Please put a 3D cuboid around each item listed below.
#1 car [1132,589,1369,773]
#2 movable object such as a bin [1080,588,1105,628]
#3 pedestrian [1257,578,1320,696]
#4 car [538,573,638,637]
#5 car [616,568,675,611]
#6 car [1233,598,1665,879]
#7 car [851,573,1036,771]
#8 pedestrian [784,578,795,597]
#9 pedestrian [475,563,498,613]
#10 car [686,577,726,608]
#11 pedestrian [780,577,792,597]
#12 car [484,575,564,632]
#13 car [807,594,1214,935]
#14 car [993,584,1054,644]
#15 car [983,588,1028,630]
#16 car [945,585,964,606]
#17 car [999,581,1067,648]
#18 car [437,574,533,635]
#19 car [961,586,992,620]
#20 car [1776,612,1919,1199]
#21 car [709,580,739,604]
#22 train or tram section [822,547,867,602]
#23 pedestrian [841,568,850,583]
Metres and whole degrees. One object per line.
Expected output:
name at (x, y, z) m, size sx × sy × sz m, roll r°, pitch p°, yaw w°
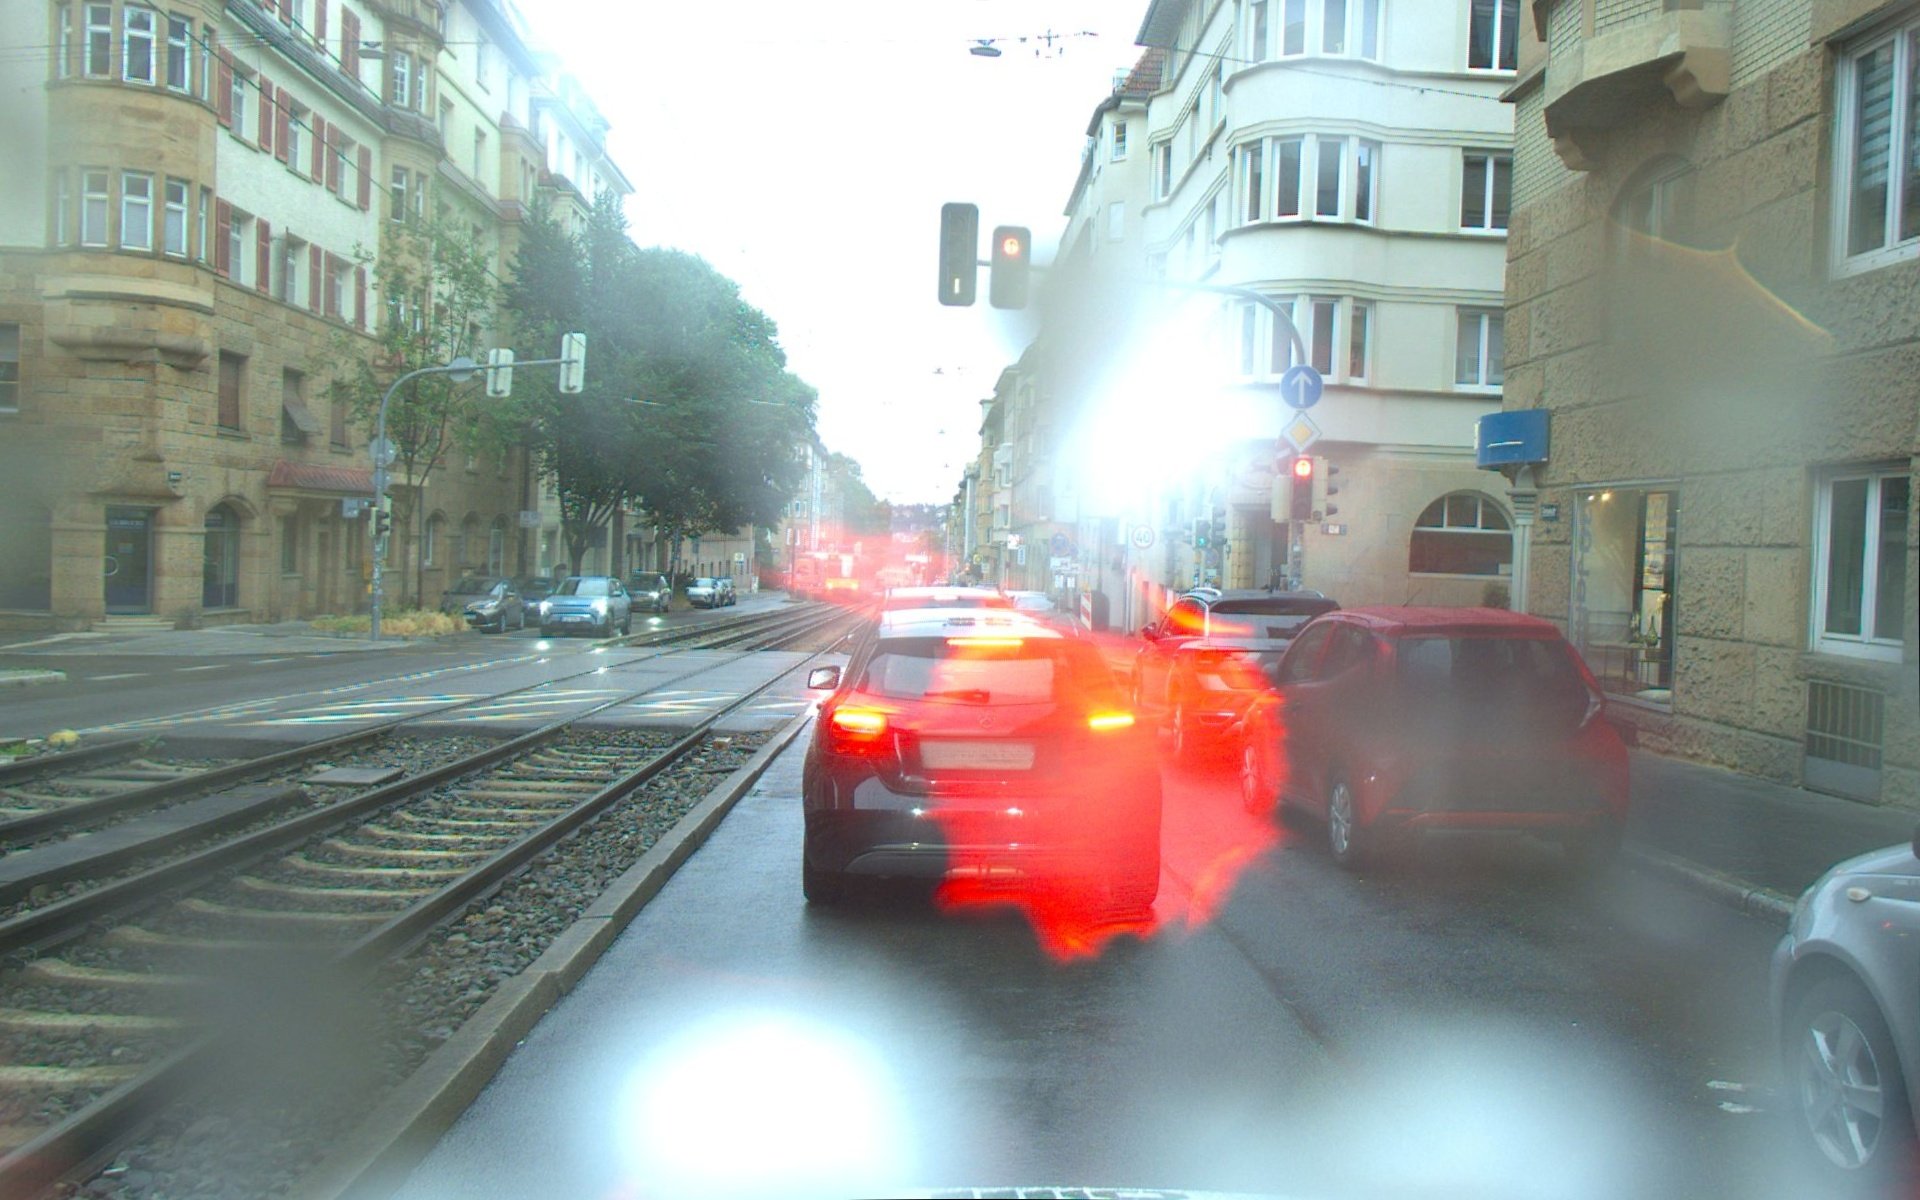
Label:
car at (2.637, 0.674, 15.789) m, size 1.513 × 1.512 × 3.829 m, roll 1°, pitch 0°, yaw -1°
movable object such as a bin at (4.769, 0.292, 59.636) m, size 0.859 × 1.413 × 0.983 m, roll 1°, pitch -1°, yaw 3°
pedestrian at (5.107, 0.566, 25.755) m, size 0.726 × 1.778 × 1.111 m, roll 1°, pitch -1°, yaw -1°
car at (-10.042, 0.140, 44.919) m, size 1.860 × 1.615 × 3.972 m, roll 1°, pitch 0°, yaw -1°
car at (-13.556, -0.420, 71.497) m, size 1.837 × 1.767 × 3.917 m, roll 1°, pitch 0°, yaw -1°
car at (2.912, 0.746, 10.553) m, size 1.609 × 1.473 × 3.297 m, roll 1°, pitch 0°, yaw -3°
car at (-0.170, 0.615, 15.827) m, size 1.533 × 1.637 × 3.813 m, roll 1°, pitch 0°, yaw -1°
pedestrian at (-18.180, -1.355, 176.150) m, size 1.031 × 1.992 × 1.043 m, roll 2°, pitch 0°, yaw 0°
pedestrian at (-16.245, -0.420, 56.779) m, size 0.619 × 1.702 × 0.702 m, roll 1°, pitch -1°, yaw -6°
car at (-13.652, -0.393, 88.959) m, size 1.557 × 1.608 × 3.917 m, roll 1°, pitch 0°, yaw -1°
pedestrian at (-18.369, -1.364, 174.877) m, size 1.031 × 1.992 × 1.043 m, roll 2°, pitch 0°, yaw 0°
car at (-13.271, 0.105, 50.515) m, size 1.683 × 1.639 × 3.914 m, roll 1°, pitch 0°, yaw -5°
car at (0.197, 0.731, 9.444) m, size 1.792 × 1.483 × 4.103 m, roll 1°, pitch 0°, yaw -1°
car at (1.774, 0.369, 47.132) m, size 1.513 × 1.618 × 3.547 m, roll 1°, pitch 0°, yaw -1°
car at (1.669, 0.316, 61.541) m, size 1.513 × 1.512 × 3.547 m, roll 1°, pitch 0°, yaw -1°
car at (-0.471, -0.335, 135.736) m, size 1.513 × 1.664 × 3.686 m, roll 1°, pitch 0°, yaw 0°
car at (1.844, 0.343, 42.659) m, size 1.513 × 1.618 × 3.547 m, roll 1°, pitch 0°, yaw -1°
car at (-13.006, 0.124, 45.488) m, size 1.718 × 1.579 × 4.032 m, roll 1°, pitch 0°, yaw -4°
car at (0.729, 0.120, 73.599) m, size 1.268 × 1.467 × 2.928 m, roll 1°, pitch 0°, yaw -1°
car at (3.130, 0.787, 3.094) m, size 1.581 × 1.493 × 3.312 m, roll 0°, pitch 0°, yaw 0°
car at (-14.019, -0.450, 98.363) m, size 1.419 × 1.354 × 3.270 m, roll 1°, pitch 0°, yaw -3°
train or tram section at (-8.664, -1.837, 124.720) m, size 2.726 × 3.928 × 10.427 m, roll 1°, pitch 0°, yaw -1°
pedestrian at (-15.829, -3.435, 228.698) m, size 1.031 × 1.992 × 1.043 m, roll 2°, pitch 0°, yaw 0°
